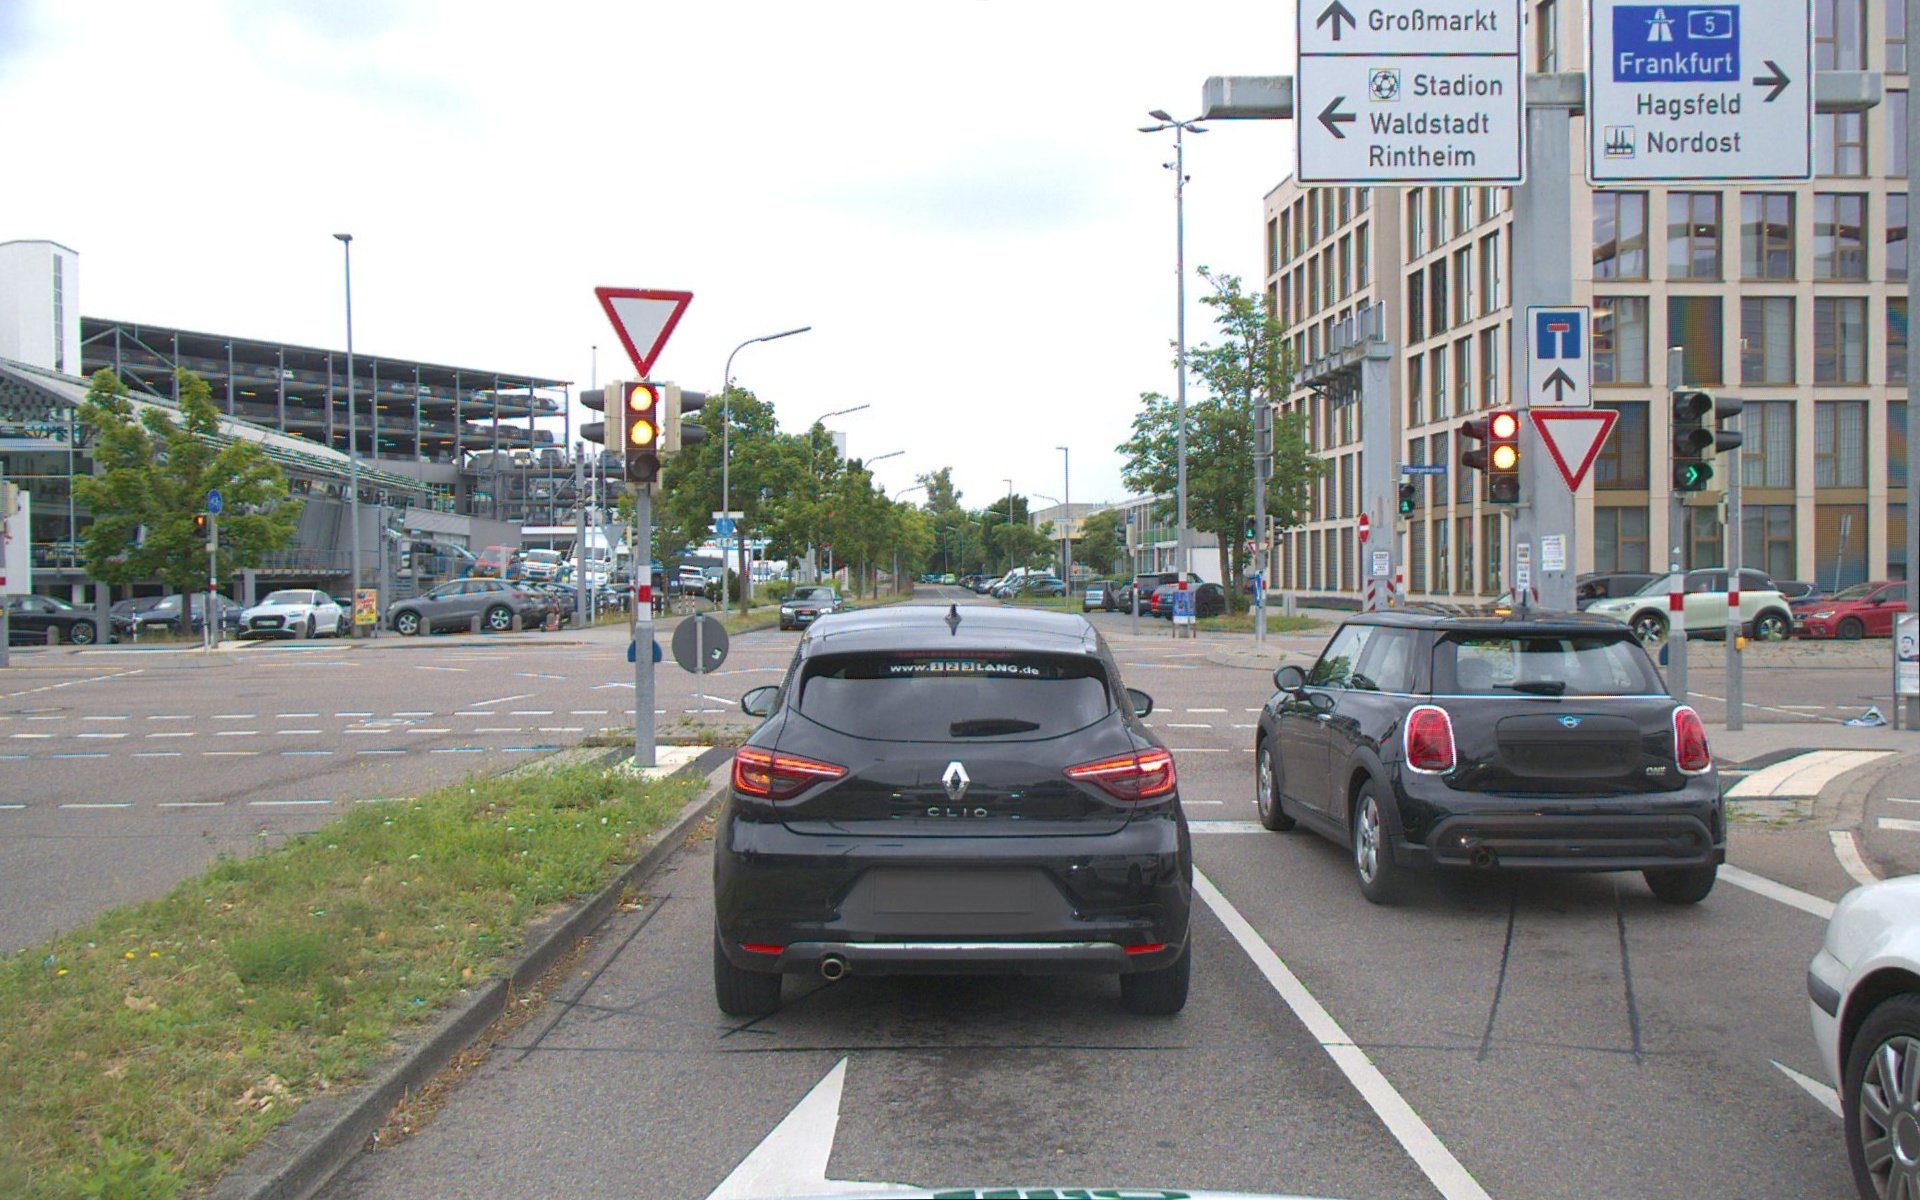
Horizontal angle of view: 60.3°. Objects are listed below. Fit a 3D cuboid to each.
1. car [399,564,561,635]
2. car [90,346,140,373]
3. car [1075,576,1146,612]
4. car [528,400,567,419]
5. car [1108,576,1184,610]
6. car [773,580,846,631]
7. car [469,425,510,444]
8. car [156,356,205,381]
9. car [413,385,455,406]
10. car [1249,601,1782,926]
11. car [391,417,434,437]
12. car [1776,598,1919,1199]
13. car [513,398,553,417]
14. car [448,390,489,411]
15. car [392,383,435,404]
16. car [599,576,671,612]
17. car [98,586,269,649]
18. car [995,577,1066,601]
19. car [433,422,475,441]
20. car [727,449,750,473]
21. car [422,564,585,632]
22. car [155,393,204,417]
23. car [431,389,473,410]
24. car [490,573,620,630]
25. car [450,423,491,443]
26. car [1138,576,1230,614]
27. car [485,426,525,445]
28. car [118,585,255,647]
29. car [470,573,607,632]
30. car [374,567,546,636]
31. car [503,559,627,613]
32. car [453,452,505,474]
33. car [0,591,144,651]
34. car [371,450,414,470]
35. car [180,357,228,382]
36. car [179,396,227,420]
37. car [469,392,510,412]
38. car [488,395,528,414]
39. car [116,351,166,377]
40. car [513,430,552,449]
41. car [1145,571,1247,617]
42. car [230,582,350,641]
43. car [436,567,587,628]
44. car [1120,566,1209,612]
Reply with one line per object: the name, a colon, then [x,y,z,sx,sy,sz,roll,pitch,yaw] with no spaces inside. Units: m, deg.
car: [-15.414,-0.029,53.302,4.610,2.049,1.998,-2,0,-5]
car: [-70.373,-20.006,137.750,3.914,1.696,1.996,1,1,31]
car: [7.668,-0.290,84.065,3.405,1.762,1.739,1,-1,-43]
car: [-45.227,-20.907,181.178,3.914,1.696,1.996,1,1,31]
car: [8.779,-0.311,77.770,1.667,1.537,3.794,-1,0,42]
car: [-4.895,0.133,54.395,1.938,1.578,4.614,0,1,0]
car: [-49.429,-17.379,173.680,3.914,1.696,1.996,1,1,31]
car: [-67.153,-19.929,142.453,3.914,1.696,1.996,1,1,31]
car: [-53.070,-20.597,166.844,3.914,1.696,1.996,1,1,31]
car: [2.830,0.748,9.291,1.749,1.440,3.643,1,0,0]
car: [-54.393,-17.167,164.360,3.914,1.696,1.996,1,1,31]
car: [3.086,0.757,2.381,1.795,1.504,4.004,1,0,-1]
car: [-46.294,-20.884,179.218,3.914,1.696,1.996,1,1,31]
car: [-50.919,-20.666,171.479,3.914,1.696,1.996,1,1,31]
car: [-54.386,-20.546,164.522,3.914,1.696,1.996,1,1,31]
car: [-19.363,-0.342,98.614,3.908,2.049,1.999,1,0,-4]
car: [-25.796,0.561,55.070,4.706,1.973,1.999,-1,1,-4]
car: [5.247,-0.818,123.796,5.070,1.750,2.142,1,0,-3]
car: [-51.751,-17.213,169.159,3.914,1.696,1.996,1,1,31]
car: [-21.186,-13.353,158.555,1.955,1.915,3.996,-1,0,-5]
car: [-15.478,-0.079,56.309,4.925,2.049,2.263,-2,0,-5]
car: [-67.172,-16.764,142.357,3.914,1.696,1.996,1,1,31]
car: [-52.034,-20.555,169.484,3.914,1.696,1.996,1,1,31]
car: [-16.355,0.062,66.953,4.798,2.049,1.998,-2,0,-6]
car: [-50.654,-17.270,171.137,3.914,1.696,1.996,1,1,31]
car: [9.669,-0.199,71.180,1.857,1.578,4.105,-1,0,44]
car: [-48.364,-17.434,175.653,3.914,1.696,1.996,1,1,31]
car: [-21.342,0.475,45.856,2.023,1.512,4.510,-2,-2,-6]
car: [-16.315,0.082,64.233,4.798,2.049,1.998,-2,0,-6]
car: [-15.275,0.042,50.734,4.680,1.895,1.998,-2,0,-6]
car: [-16.623,-0.572,69.782,4.798,2.049,1.998,-2,0,-6]
car: [-50.644,-14.390,174.134,5.212,1.979,2.208,1,1,28]
car: [-25.319,0.603,45.607,4.646,1.512,1.891,-1,-2,-4]
car: [-55.731,-13.748,162.381,3.914,1.696,1.996,1,1,31]
car: [-66.143,-20.120,144.649,3.914,1.696,1.996,1,1,31]
car: [-66.073,-16.736,144.407,3.914,1.696,1.996,1,1,31]
car: [-49.441,-20.795,173.708,3.914,1.696,1.996,1,1,31]
car: [-48.086,-20.759,175.837,3.914,1.696,1.996,1,1,31]
car: [-69.296,-19.977,139.942,3.914,1.696,1.996,1,1,31]
car: [-46.286,-17.338,179.036,3.914,1.696,1.996,1,1,31]
car: [9.567,-0.229,66.791,4.096,1.799,1.861,0,0,-41]
car: [-18.590,0.345,46.089,1.832,1.512,4.226,-1,-1,-4]
car: [-15.929,-0.087,58.930,4.853,1.909,2.051,-2,0,-7]
car: [9.212,-0.484,74.374,1.963,2.000,4.221,-1,0,41]
